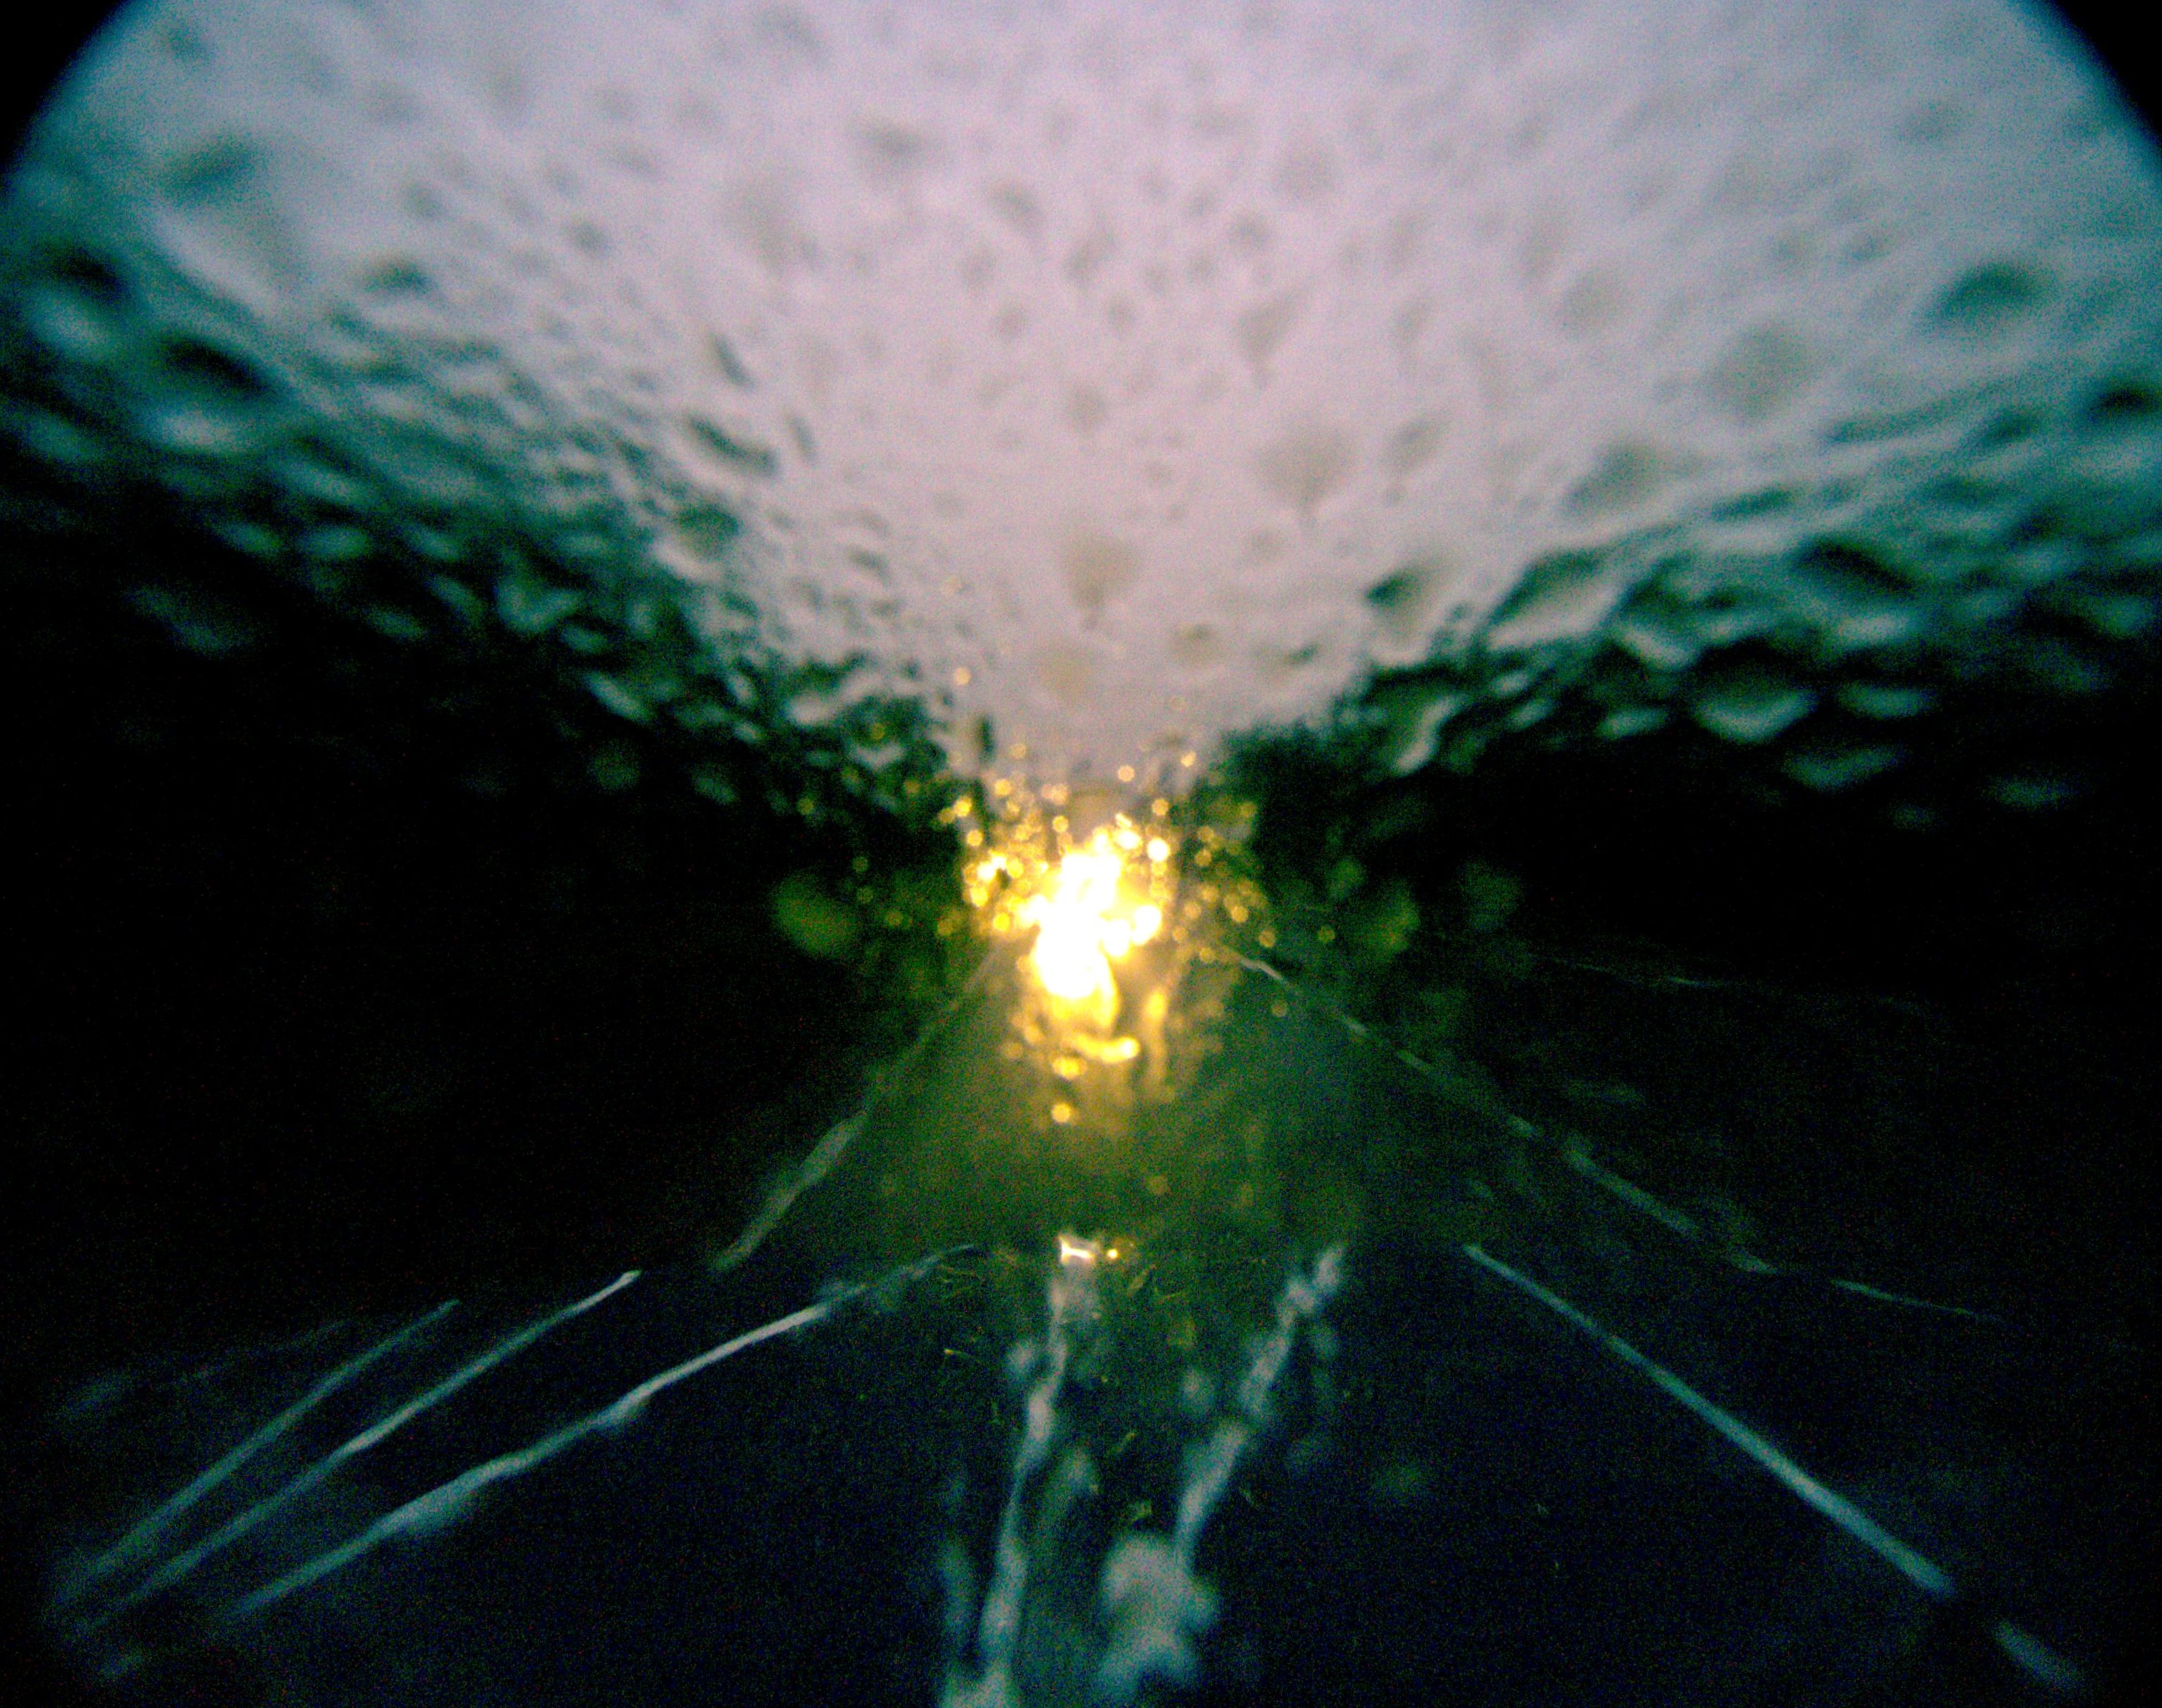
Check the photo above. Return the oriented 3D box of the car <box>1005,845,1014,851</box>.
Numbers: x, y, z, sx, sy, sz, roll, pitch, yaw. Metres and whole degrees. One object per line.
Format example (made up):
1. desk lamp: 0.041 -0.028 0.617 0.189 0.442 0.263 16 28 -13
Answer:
1. car: -18.978 -1.525 202.592 1.909 1.638 4.722 -2 0 -10

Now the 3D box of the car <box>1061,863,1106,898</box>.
1. car: 0.033 1.150 34.279 1.850 1.429 4.243 0 1 -2

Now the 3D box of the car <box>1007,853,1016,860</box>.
1. car: -16.837 0.514 183.660 1.866 1.638 4.462 -1 1 -11

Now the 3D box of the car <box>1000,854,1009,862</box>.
1. car: -16.909 0.950 168.446 1.718 1.617 4.214 -2 1 -9

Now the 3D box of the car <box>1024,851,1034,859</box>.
1. car: -10.864 0.227 159.082 1.810 1.445 4.375 -2 1 -8
